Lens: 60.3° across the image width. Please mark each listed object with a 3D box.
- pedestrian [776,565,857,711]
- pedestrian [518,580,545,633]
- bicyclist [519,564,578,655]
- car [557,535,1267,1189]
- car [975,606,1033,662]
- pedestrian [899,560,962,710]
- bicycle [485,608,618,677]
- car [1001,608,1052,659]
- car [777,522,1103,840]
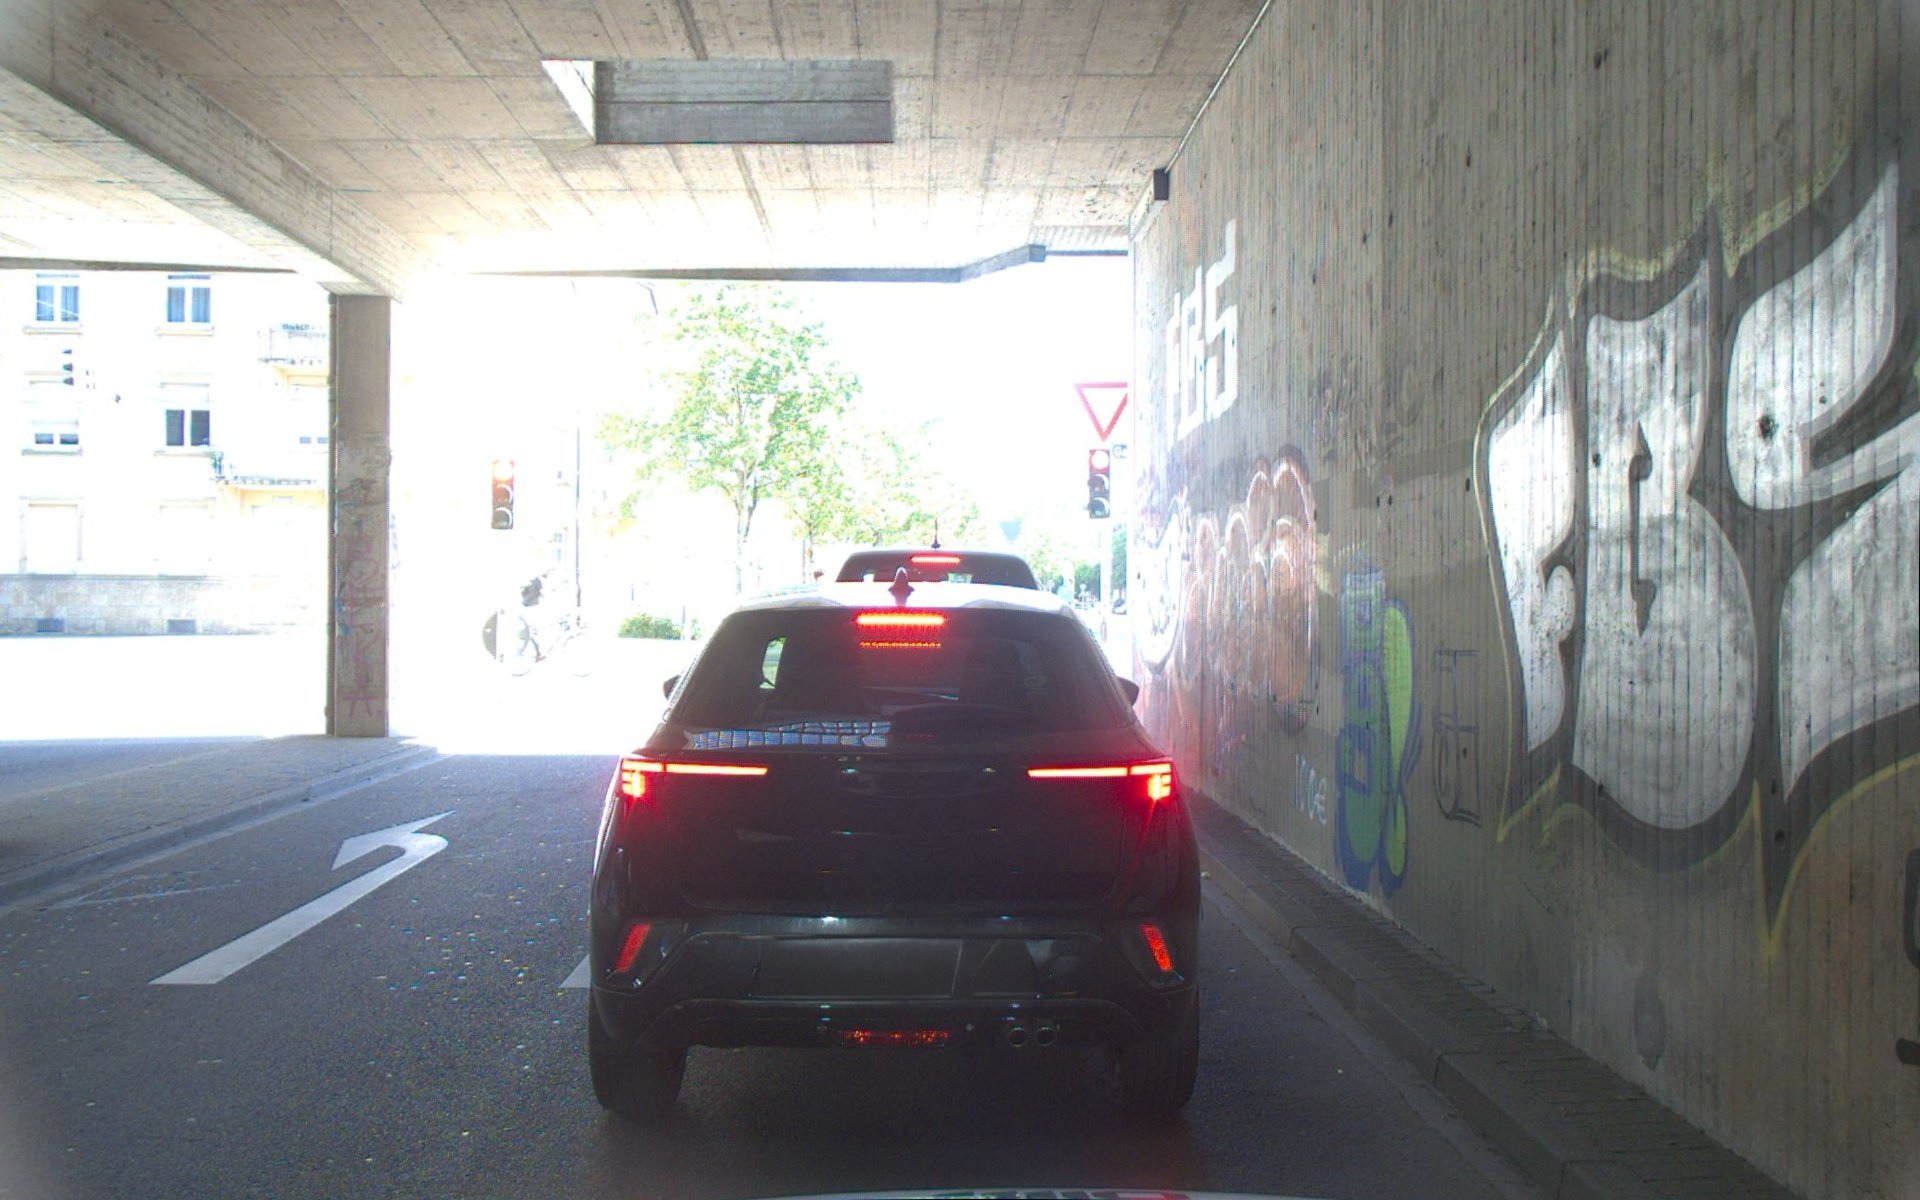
[{"bbox_3d":[-1.807,0.476,20.904,0.910,1.792,0.794,1,-1,1],"label":"pedestrian"},{"bbox_3d":[-13.661,0.193,52.735,0.658,1.666,0.740,1,-1,-1],"label":"pedestrian"},{"bbox_3d":[-6.666,0.157,26.803,0.722,1.448,0.685,-1,-1,6],"label":"bicyclist"},{"bbox_3d":[-0.144,0.607,6.087,1.729,1.598,4.000,1,1,-1],"label":"car"},{"bbox_3d":[1.700,1.254,62.312,1.951,2.004,4.166,1,0,4],"label":"car"},{"bbox_3d":[-0.353,0.415,19.926,0.716,1.764,0.874,1,-1,-1],"label":"pedestrian"},{"bbox_3d":[-6.606,0.683,26.771,1.947,1.068,0.719,-1,-1,6],"label":"bicycle"},{"bbox_3d":[2.788,1.360,68.450,1.951,2.004,4.166,1,0,4],"label":"car"},{"bbox_3d":[-0.147,0.474,11.942,1.953,1.904,3.999,0,0,-1],"label":"car"}]
